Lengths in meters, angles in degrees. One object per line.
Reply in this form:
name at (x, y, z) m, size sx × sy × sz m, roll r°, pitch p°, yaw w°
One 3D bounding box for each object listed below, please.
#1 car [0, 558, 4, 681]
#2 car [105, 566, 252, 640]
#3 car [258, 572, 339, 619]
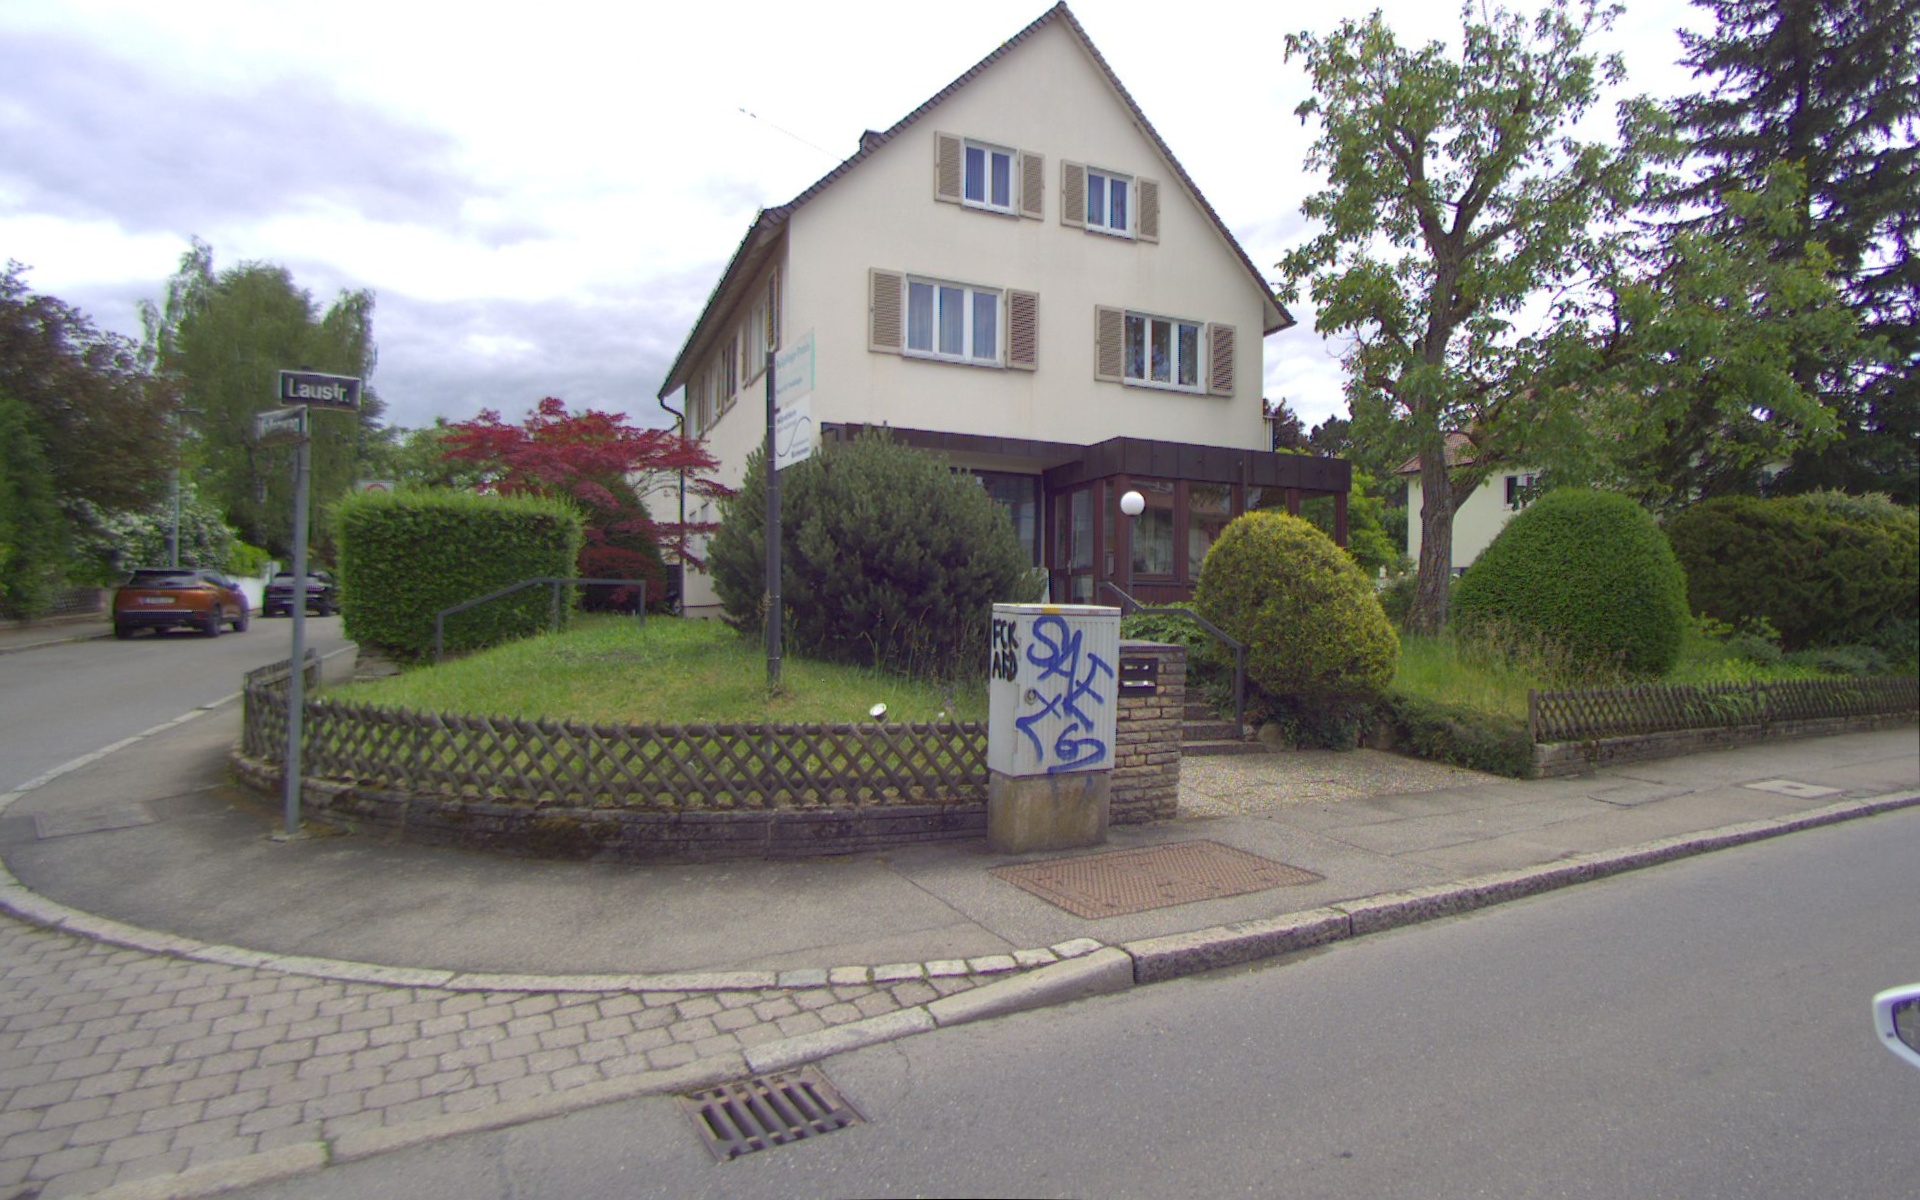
car at (-12.625, 0.279, 11.014) m, size 1.851 × 1.619 × 3.976 m, roll 1°, pitch 1°, yaw -24°
car at (-17.653, 0.036, 22.889) m, size 1.720 × 1.507 × 3.976 m, roll 1°, pitch 1°, yaw -24°
car at (-23.228, -0.190, 35.396) m, size 1.720 × 1.540 × 3.976 m, roll 1°, pitch 1°, yaw -24°
